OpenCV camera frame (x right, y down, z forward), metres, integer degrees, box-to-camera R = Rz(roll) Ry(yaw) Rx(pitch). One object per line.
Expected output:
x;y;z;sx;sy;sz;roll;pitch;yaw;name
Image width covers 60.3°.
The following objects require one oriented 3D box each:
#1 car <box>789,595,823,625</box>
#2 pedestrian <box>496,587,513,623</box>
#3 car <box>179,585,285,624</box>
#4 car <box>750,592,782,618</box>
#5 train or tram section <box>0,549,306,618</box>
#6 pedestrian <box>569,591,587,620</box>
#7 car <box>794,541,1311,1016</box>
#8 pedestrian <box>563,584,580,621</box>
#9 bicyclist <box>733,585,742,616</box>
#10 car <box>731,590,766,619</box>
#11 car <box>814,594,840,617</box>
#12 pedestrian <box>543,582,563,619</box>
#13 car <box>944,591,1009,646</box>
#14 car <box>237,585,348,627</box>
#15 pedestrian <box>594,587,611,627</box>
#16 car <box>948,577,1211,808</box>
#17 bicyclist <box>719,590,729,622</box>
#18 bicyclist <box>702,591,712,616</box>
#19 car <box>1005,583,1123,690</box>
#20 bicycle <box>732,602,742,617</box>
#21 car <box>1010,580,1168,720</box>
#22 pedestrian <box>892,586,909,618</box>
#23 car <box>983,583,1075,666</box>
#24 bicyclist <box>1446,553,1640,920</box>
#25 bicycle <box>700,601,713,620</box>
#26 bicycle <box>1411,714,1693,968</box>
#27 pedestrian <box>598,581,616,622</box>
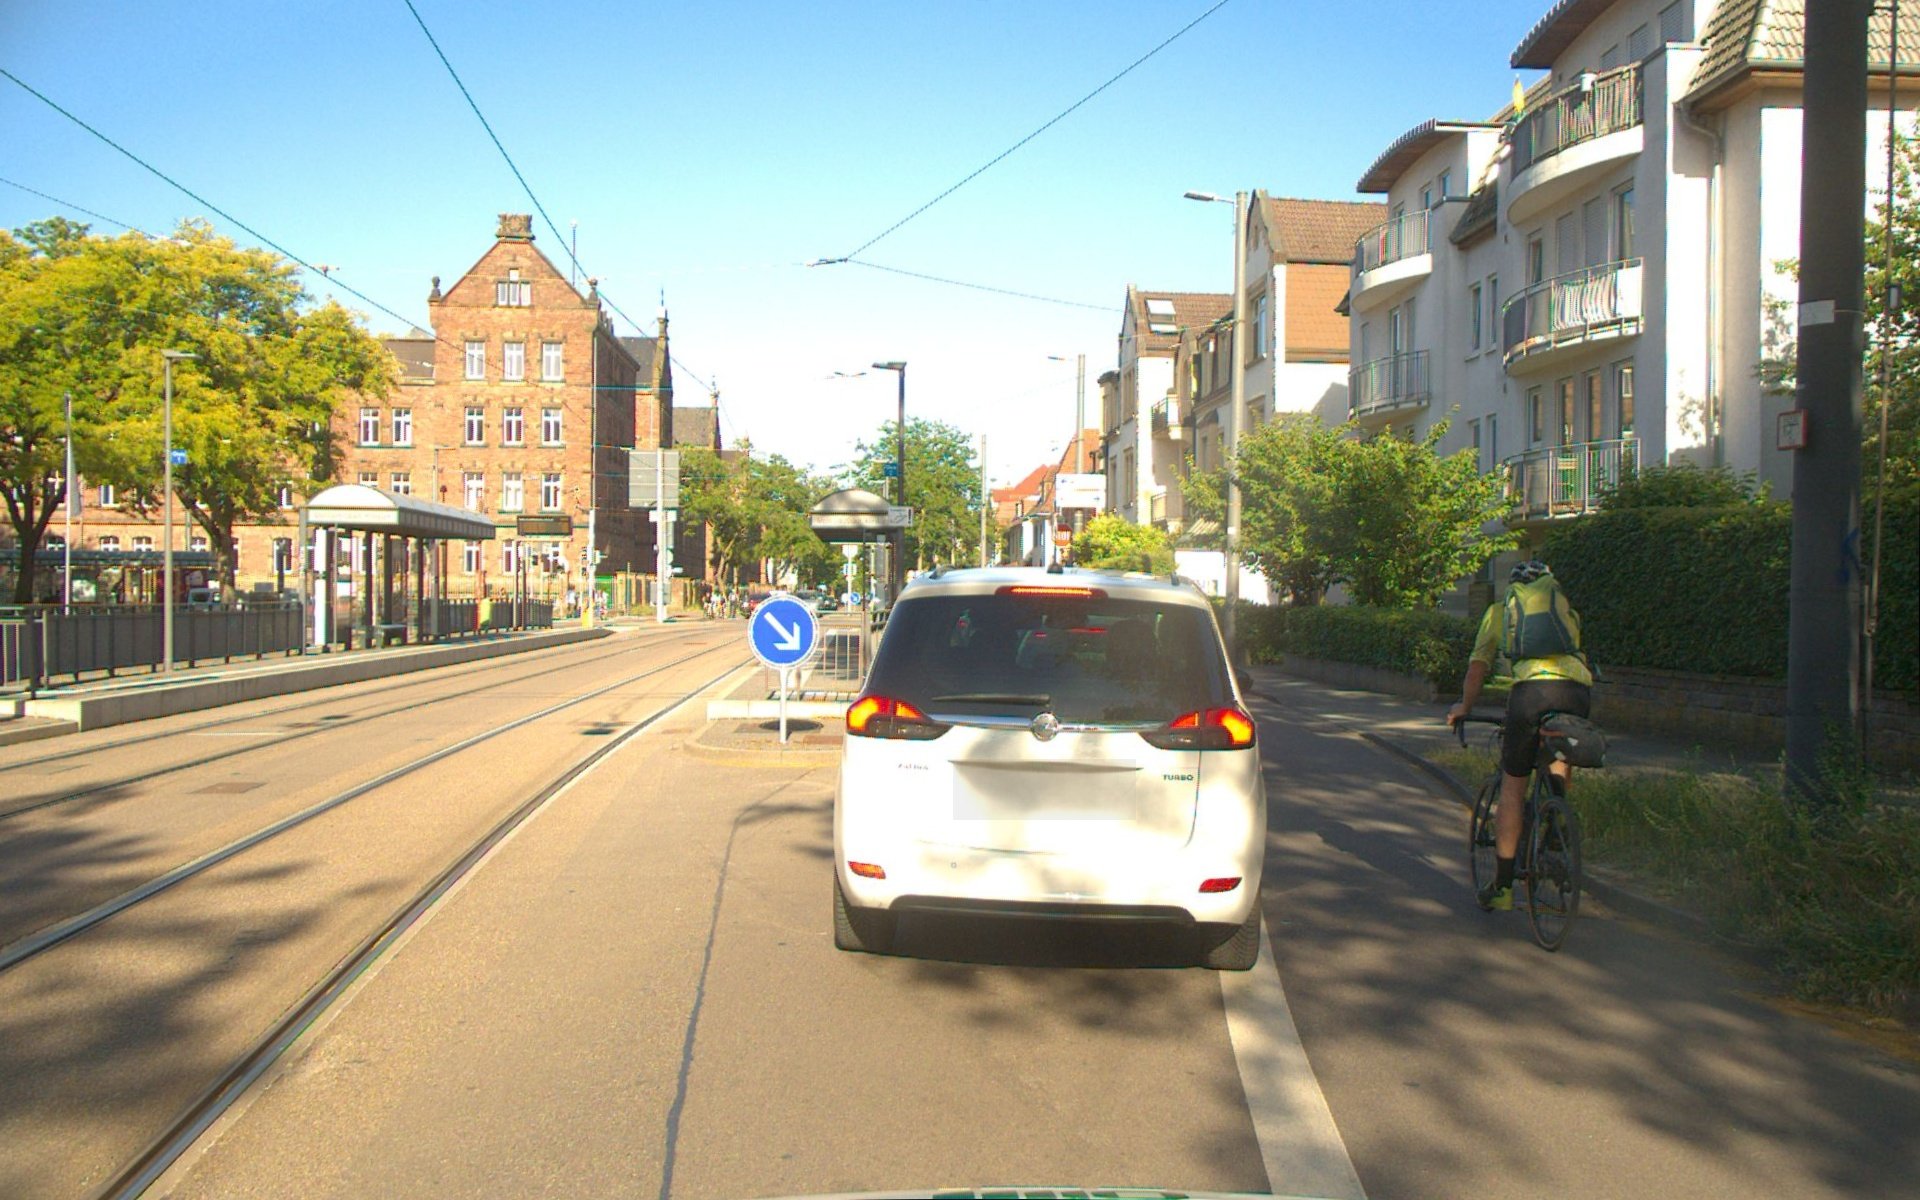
-9.366;0.591;101.004;1.711;1.746;3.999;1;0;-1;car
-22.978;0.245;83.425;0.754;1.805;0.717;1;-1;-18;pedestrian
-32.446;0.211;73.814;3.908;1.658;1.817;1;0;-4;car
-13.303;0.352;113.492;1.711;1.746;3.999;1;0;-1;car
-40.747;-0.772;79.417;17.048;3.210;3.343;0;0;-6;train or tram section
-21.552;0.299;93.369;0.641;1.640;0.711;1;-1;25;pedestrian
0.544;0.627;7.993;1.866;1.690;4.003;0;0;6;car
-21.402;0.140;91.040;0.679;2.049;0.614;0;-1;40;pedestrian
-14.965;0.039;111.111;0.478;2.049;0.502;1;-1;-1;bicyclist
-12.977;0.274;101.610;1.711;1.746;3.999;1;0;-1;car
-10.352;0.438;128.893;1.711;1.746;3.999;1;0;-1;car
-21.814;0.034;88.677;0.791;1.934;0.744;1;-1;13;pedestrian
0.502;0.552;53.075;1.869;1.690;3.998;0;0;-2;car
-28.115;0.259;69.741;3.908;1.658;1.817;1;0;-4;car
-18.651;0.379;86.234;0.781;2.049;1.042;1;-1;-15;pedestrian
1.065;0.644;13.767;1.866;1.625;4.003;0;0;6;car
-15.383;0.370;107.794;0.488;2.049;0.572;1;-1;-1;bicyclist
-15.365;0.221;100.555;0.520;1.503;0.572;1;-1;-1;bicyclist
1.787;0.574;28.279;1.867;1.690;4.002;0;0;4;car
-14.972;0.660;111.094;0.477;0.988;1.405;1;0;-1;bicycle
1.746;0.582;21.618;1.866;1.653;4.003;0;0;6;car
-3.612;0.111;100.665;0.734;1.934;0.801;1;-1;-33;pedestrian
1.445;0.500;36.112;1.868;1.690;4.000;0;0;0;car
2.793;0.629;7.990;0.662;1.687;0.745;0;0;-1;bicyclist
-15.387;0.633;100.410;0.498;1.096;1.738;1;0;-1;bicycle
2.783;1.092;7.992;0.662;0.941;1.885;0;0;-1;bicycle
-18.081;0.083;84.686;0.782;2.049;0.717;1;-1;-18;pedestrian
